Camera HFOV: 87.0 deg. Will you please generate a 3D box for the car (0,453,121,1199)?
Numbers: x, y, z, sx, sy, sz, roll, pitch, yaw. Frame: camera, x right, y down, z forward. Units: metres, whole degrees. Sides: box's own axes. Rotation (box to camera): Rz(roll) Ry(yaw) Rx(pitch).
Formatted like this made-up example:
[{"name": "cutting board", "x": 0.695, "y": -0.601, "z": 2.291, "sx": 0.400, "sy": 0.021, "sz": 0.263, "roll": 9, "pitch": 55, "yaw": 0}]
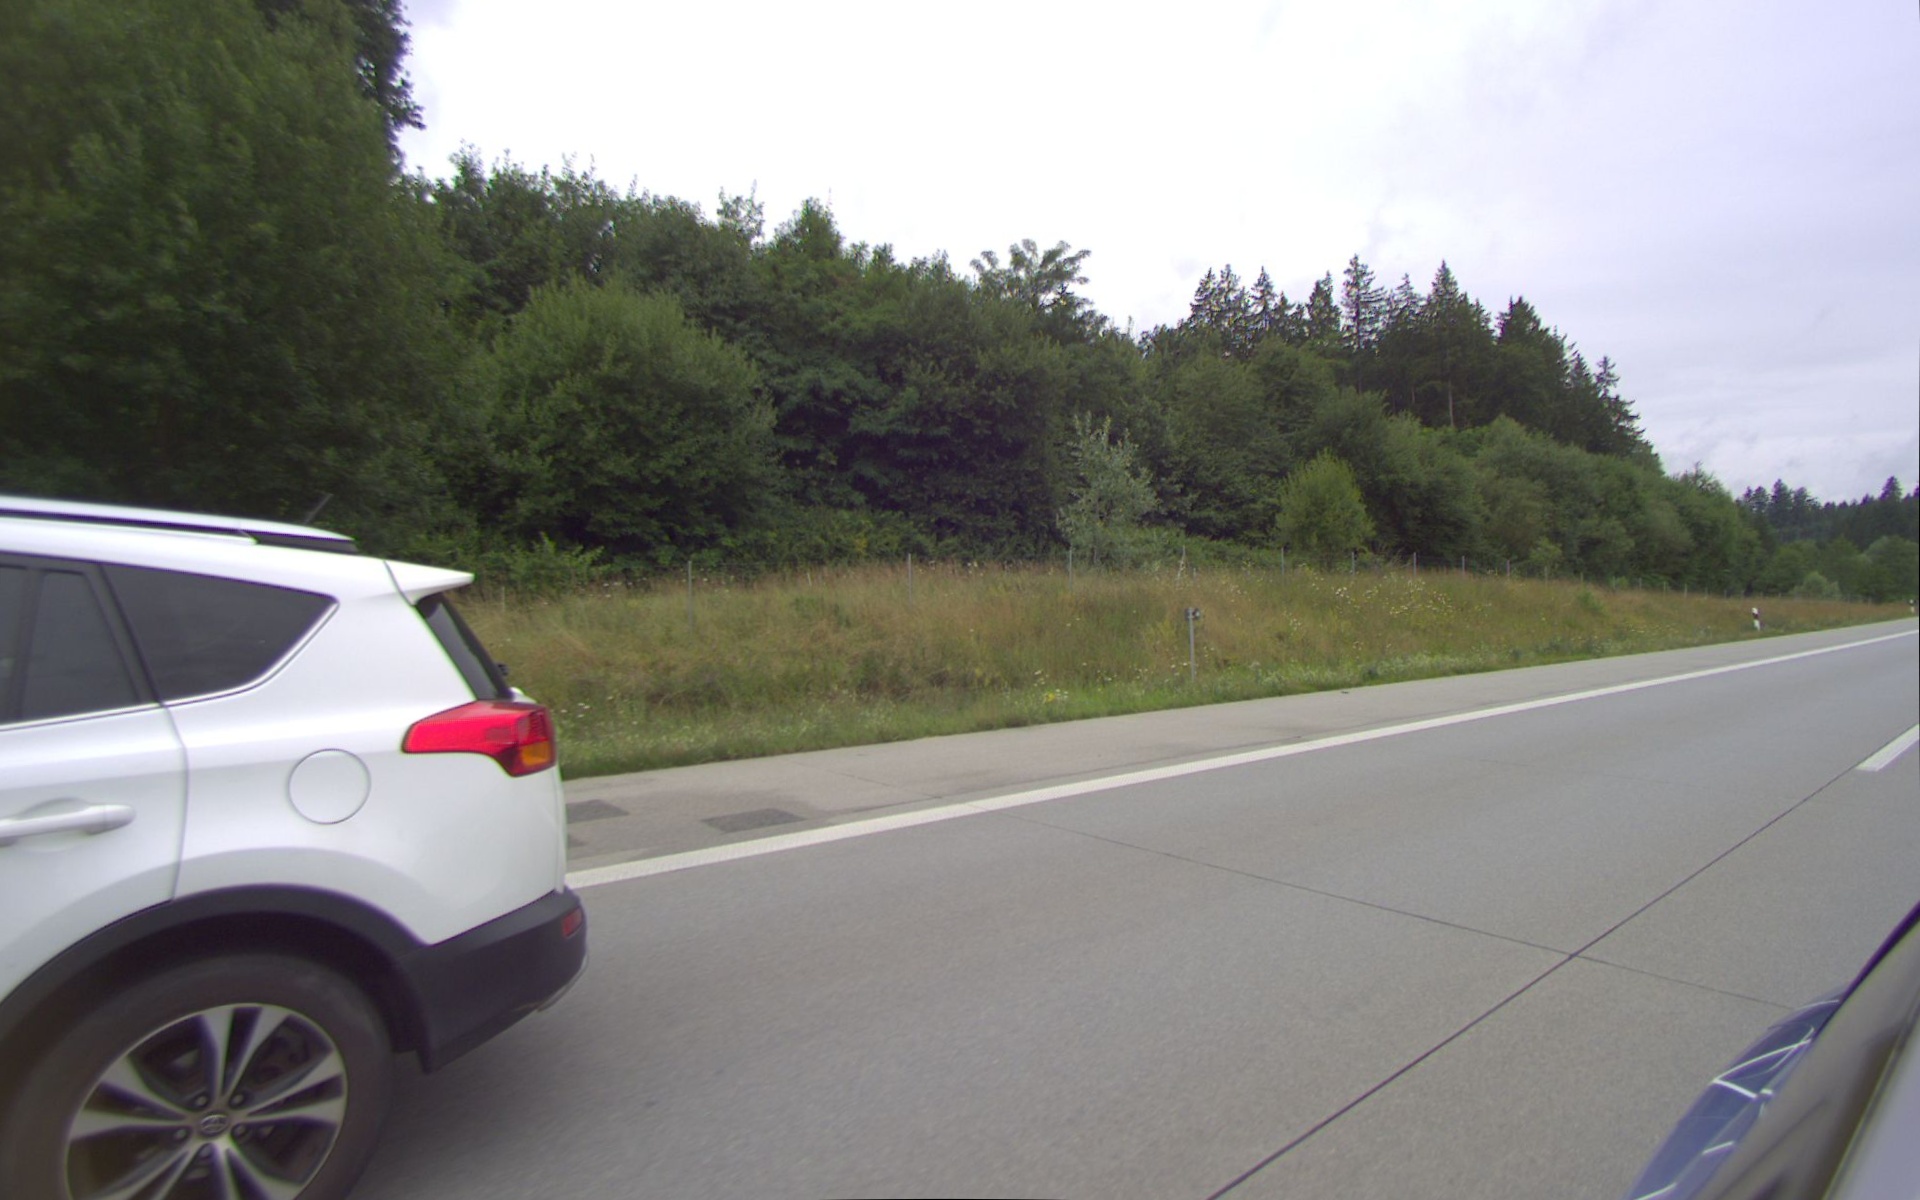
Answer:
[{"name": "car", "x": -3.718, "y": 0.568, "z": 1.383, "sx": 3.916, "sy": 1.676, "sz": 1.828, "roll": 0, "pitch": 0, "yaw": -42}]
